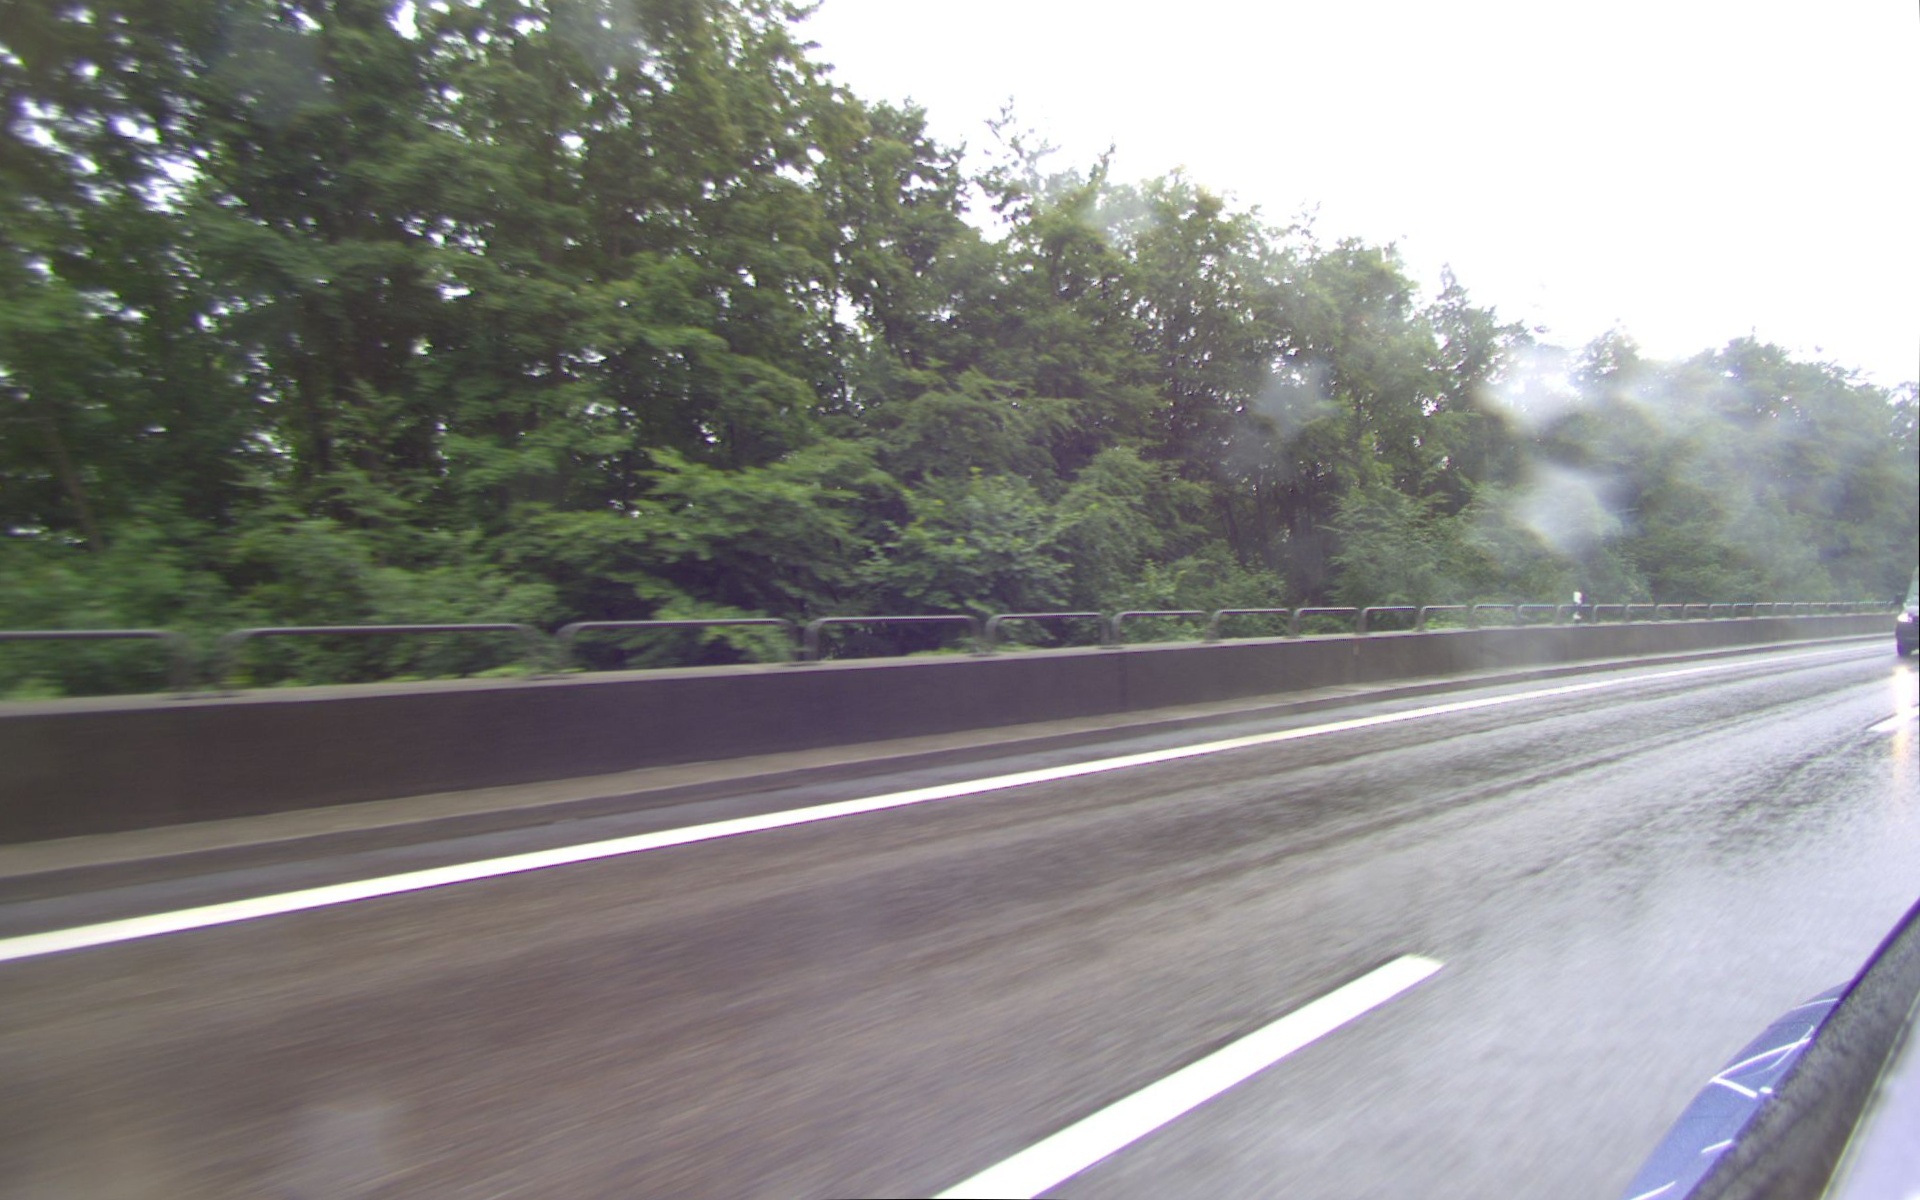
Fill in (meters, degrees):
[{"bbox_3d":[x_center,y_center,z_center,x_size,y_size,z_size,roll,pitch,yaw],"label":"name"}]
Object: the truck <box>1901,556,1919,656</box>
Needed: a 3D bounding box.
[{"bbox_3d":[27.956,0.170,27.655,7.857,2.526,2.109,0,2,-39],"label":"truck"}]
